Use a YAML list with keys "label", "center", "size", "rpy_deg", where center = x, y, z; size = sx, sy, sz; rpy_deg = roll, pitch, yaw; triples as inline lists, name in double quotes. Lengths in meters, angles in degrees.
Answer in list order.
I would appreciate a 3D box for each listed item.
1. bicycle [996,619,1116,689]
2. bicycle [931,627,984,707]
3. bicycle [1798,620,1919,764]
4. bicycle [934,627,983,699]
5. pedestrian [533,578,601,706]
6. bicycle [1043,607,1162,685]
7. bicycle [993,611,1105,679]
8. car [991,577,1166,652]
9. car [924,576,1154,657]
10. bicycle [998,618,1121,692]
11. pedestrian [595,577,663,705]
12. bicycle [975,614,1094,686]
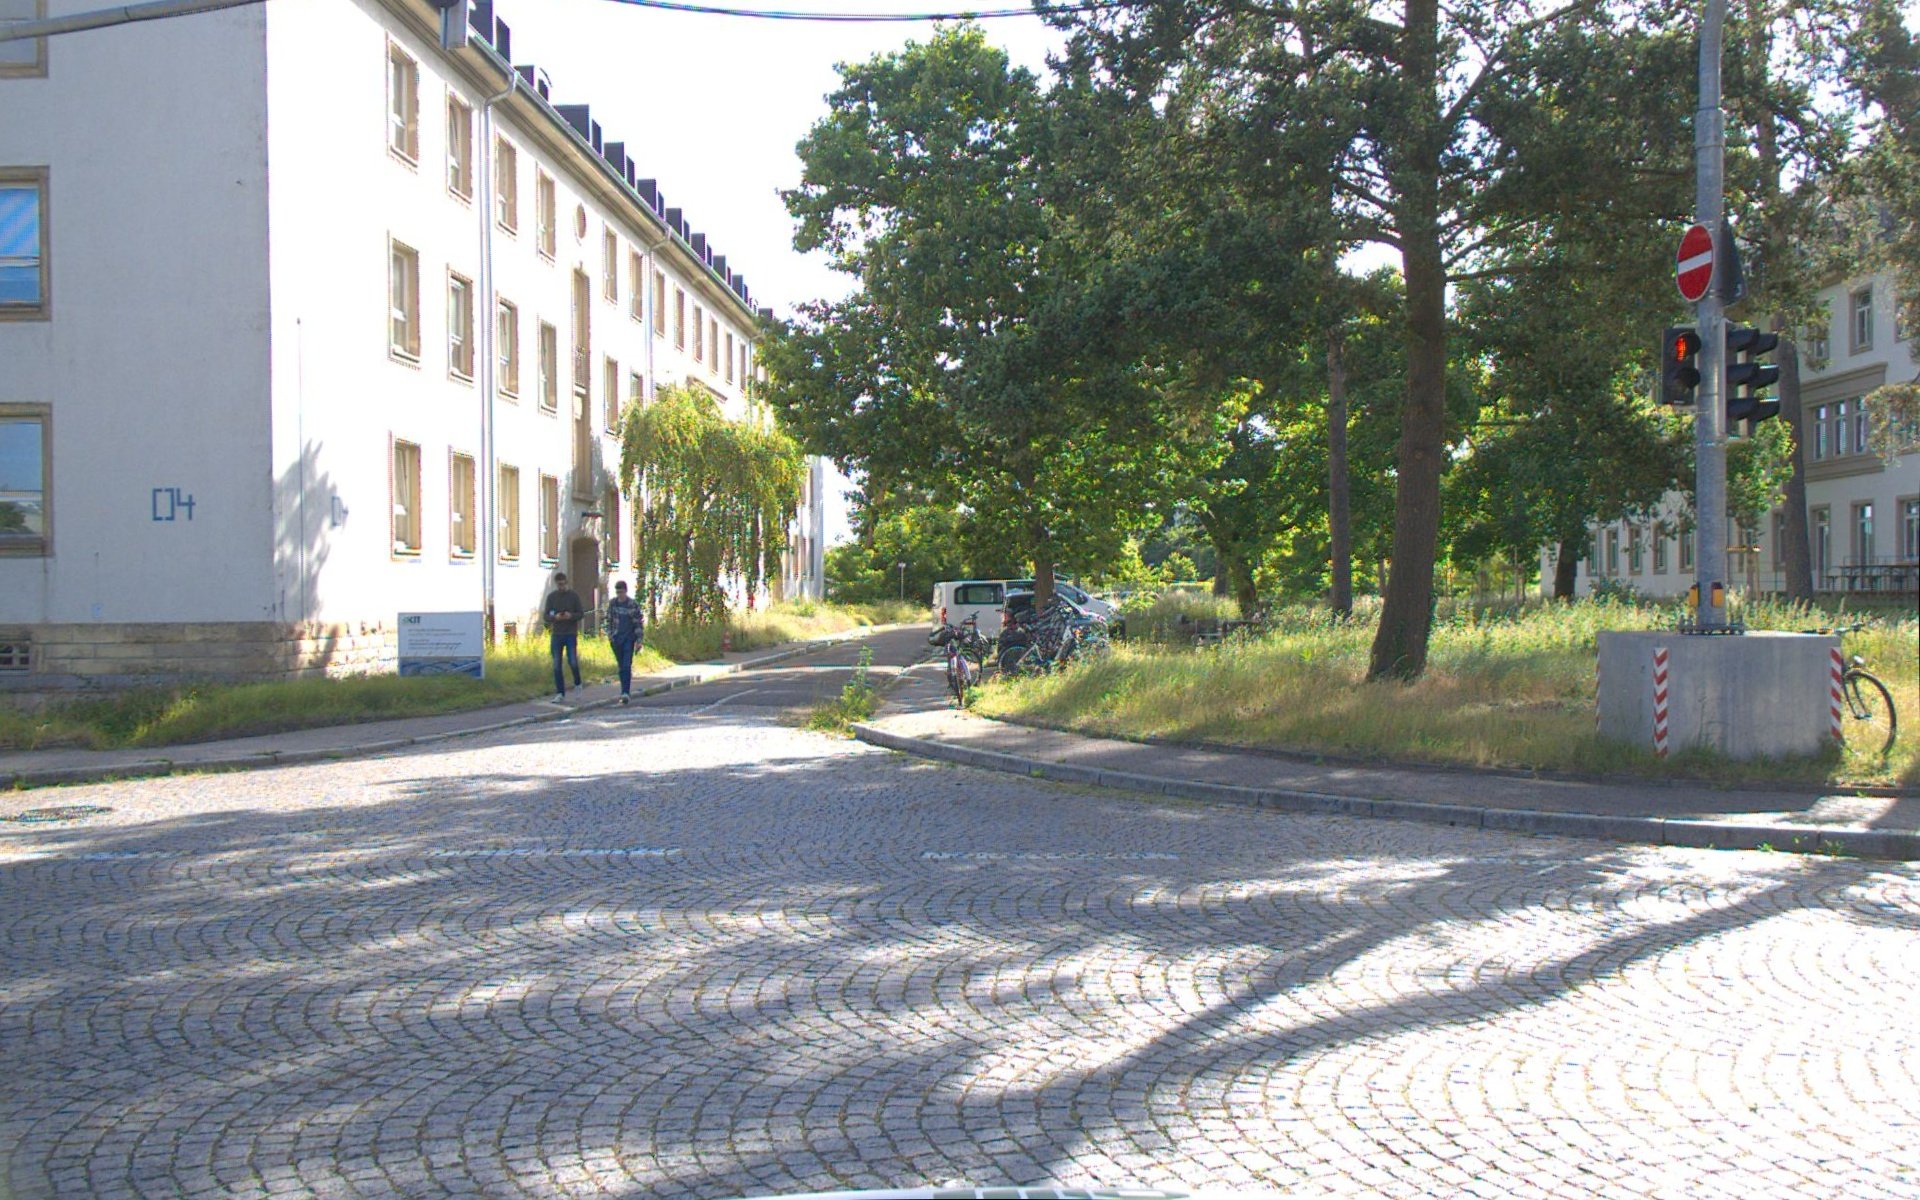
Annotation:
- label: "bicycle"
  center: [1.473, 0.828, 25.660]
  size: [1.817, 1.049, 0.750]
  rpy_deg: [0, 0, -1]
- label: "bicycle"
  center: [-0.030, 0.881, 22.234]
  size: [0.681, 0.988, 1.860]
  rpy_deg: [0, 0, 0]
- label: "bicycle"
  center: [7.216, 0.713, 13.283]
  size: [0.456, 1.099, 1.174]
  rpy_deg: [-1, -1, 6]
- label: "bicycle"
  center: [-0.012, 0.901, 24.183]
  size: [0.681, 0.988, 1.860]
  rpy_deg: [0, 0, 0]
- label: "pedestrian"
  center: [-5.765, 0.612, 24.281]
  size: [0.794, 1.849, 0.555]
  rpy_deg: [-1, 0, 13]
- label: "bicycle"
  center: [2.328, 0.750, 27.122]
  size: [1.901, 1.257, 0.485]
  rpy_deg: [0, 0, -1]
- label: "bicycle"
  center: [1.539, 0.776, 28.773]
  size: [1.902, 1.149, 0.647]
  rpy_deg: [0, 0, -3]
- label: "car"
  center: [2.786, 0.324, 39.375]
  size: [3.909, 1.713, 1.845]
  rpy_deg: [0, 0, -6]
- label: "car"
  center: [2.017, 0.417, 43.743]
  size: [5.814, 2.049, 2.473]
  rpy_deg: [0, 0, -5]
- label: "bicycle"
  center: [1.580, 0.870, 26.458]
  size: [1.901, 1.149, 0.750]
  rpy_deg: [0, 0, -1]
- label: "pedestrian"
  center: [-4.840, 0.592, 24.190]
  size: [0.751, 1.849, 0.683]
  rpy_deg: [-1, 0, 13]
- label: "bicycle"
  center: [1.250, 0.824, 27.678]
  size: [1.916, 1.149, 0.643]
  rpy_deg: [0, 0, -25]
